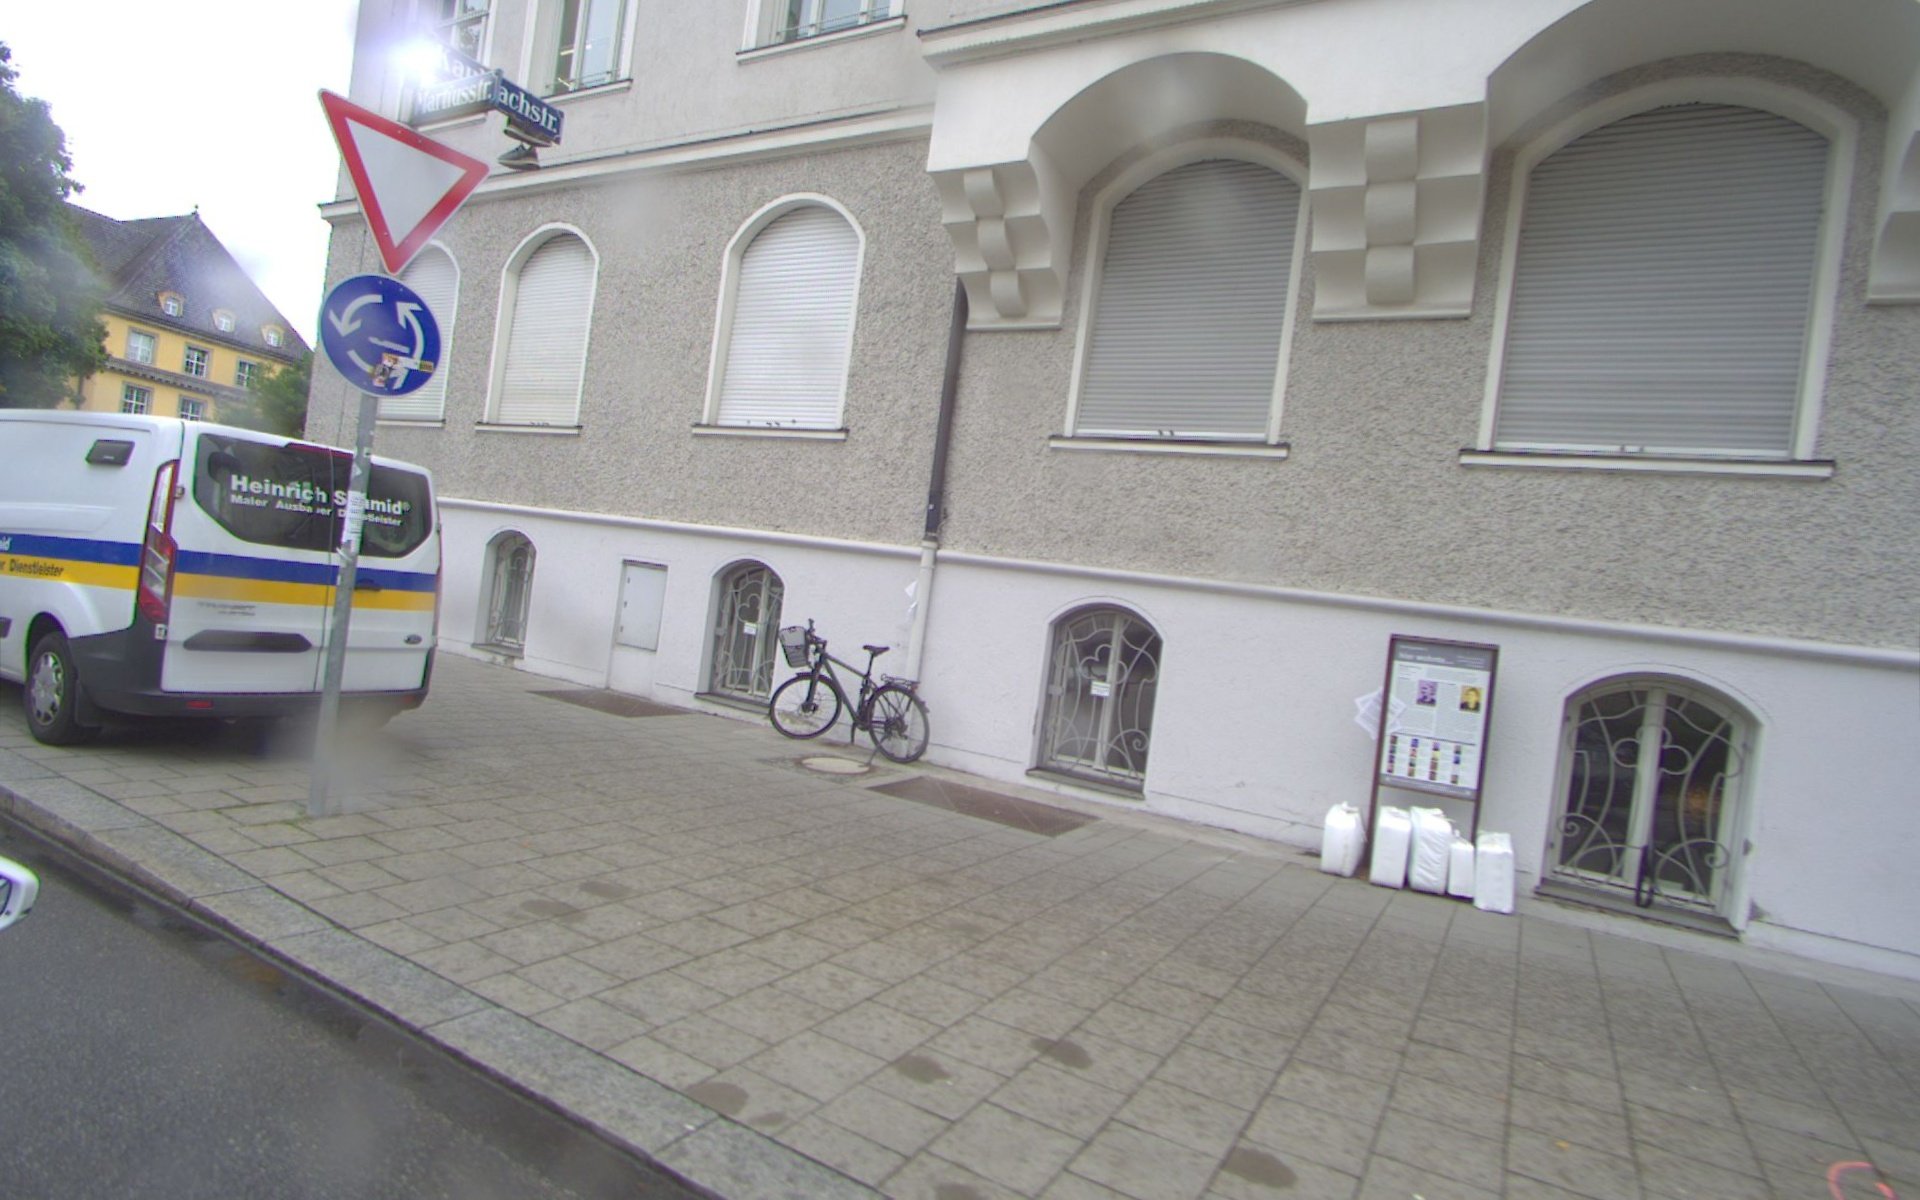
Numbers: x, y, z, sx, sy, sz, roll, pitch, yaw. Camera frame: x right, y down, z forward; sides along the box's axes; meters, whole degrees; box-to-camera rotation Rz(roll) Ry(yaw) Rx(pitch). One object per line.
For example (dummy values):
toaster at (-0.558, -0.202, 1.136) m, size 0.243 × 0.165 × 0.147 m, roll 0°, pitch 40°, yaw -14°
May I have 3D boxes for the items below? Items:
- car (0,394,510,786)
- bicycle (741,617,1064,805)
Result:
car at (-5.879, -0.269, 7.176) m, size 5.282 × 1.946 × 1.942 m, roll 8°, pitch 1°, yaw 29°
bicycle at (-0.557, 0.875, 8.769) m, size 2.710 × 1.128 × 0.839 m, roll 8°, pitch 3°, yaw 30°
